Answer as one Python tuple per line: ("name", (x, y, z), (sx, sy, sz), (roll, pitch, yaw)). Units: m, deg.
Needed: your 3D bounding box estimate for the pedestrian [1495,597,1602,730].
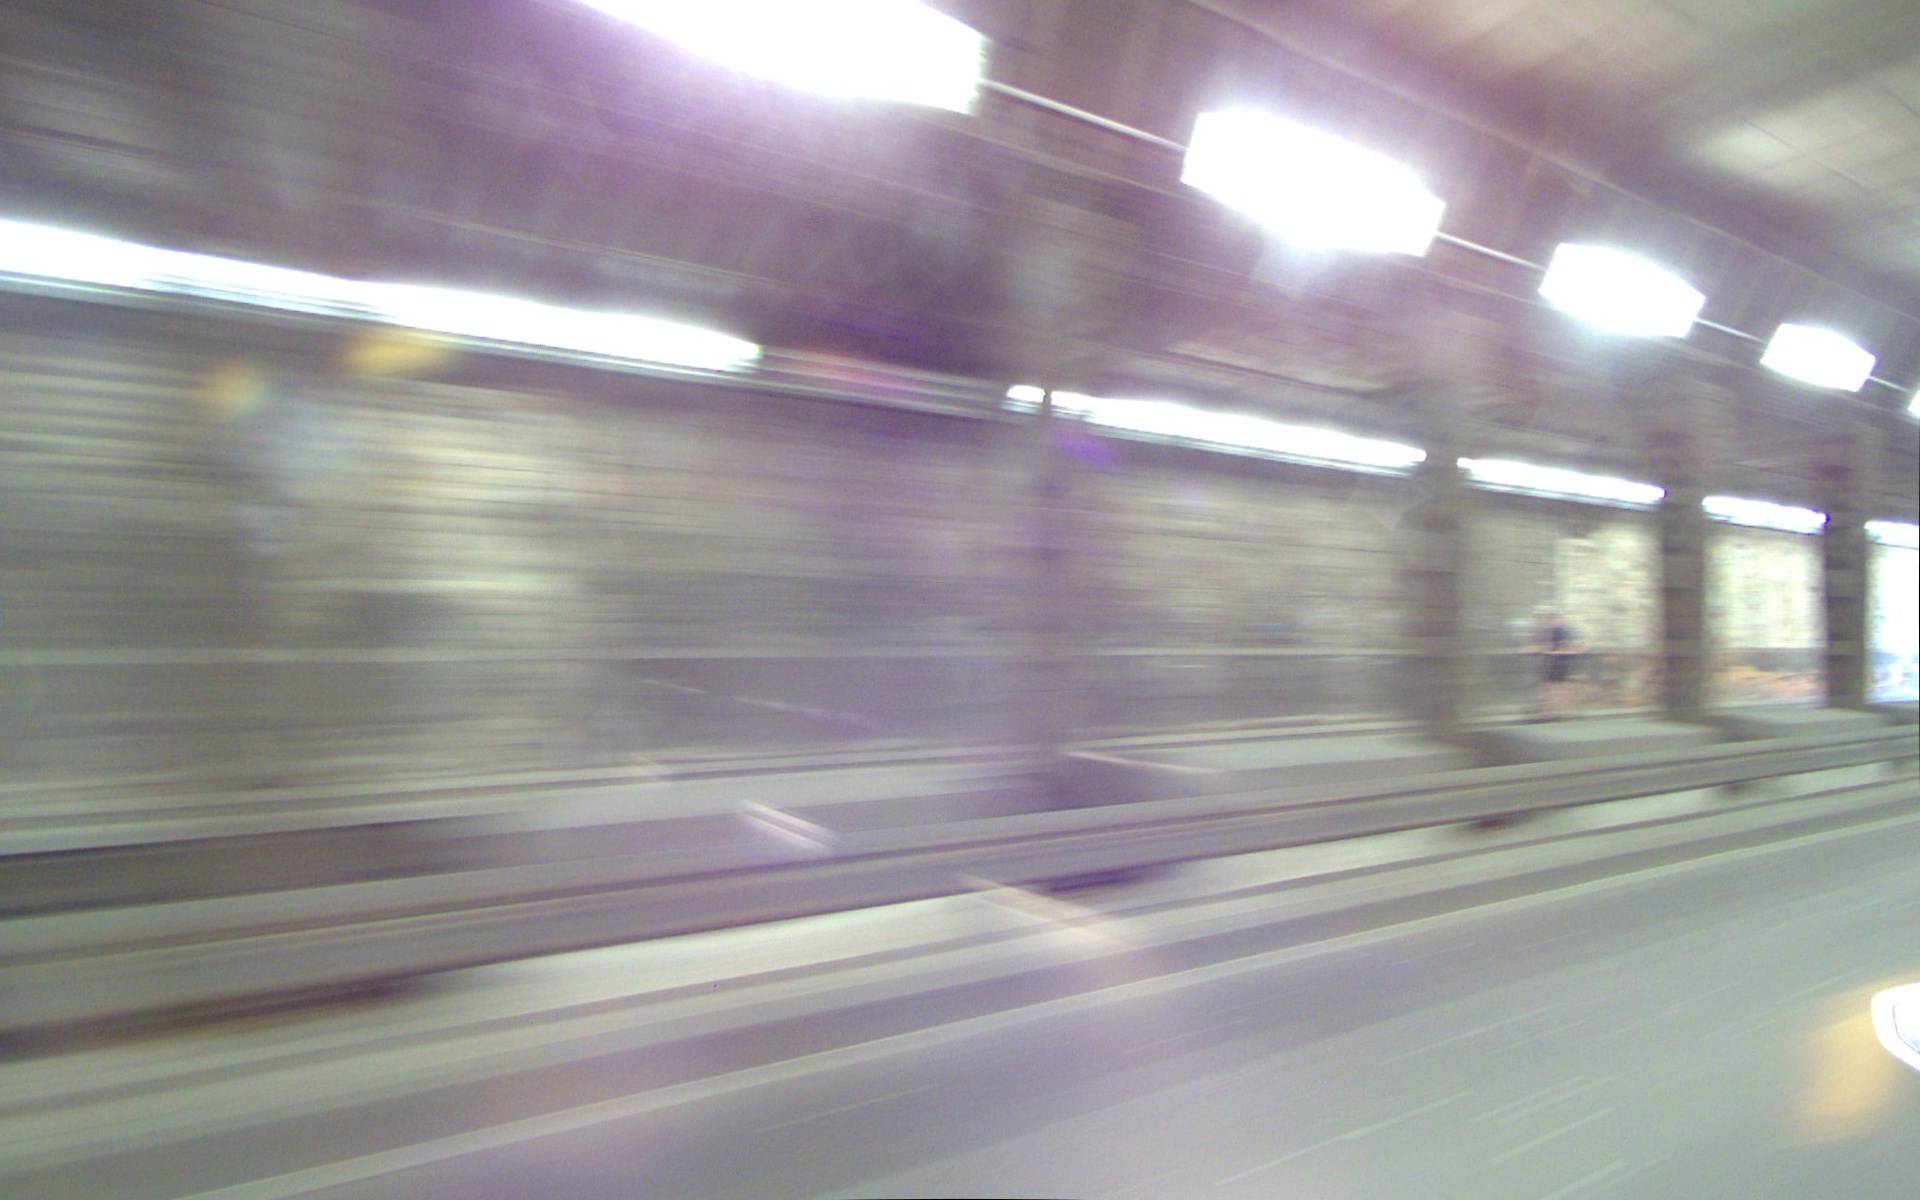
("pedestrian", (9.709, 1.036, 16.573), (1.339, 2.082, 0.954), (3, -2, -29))
